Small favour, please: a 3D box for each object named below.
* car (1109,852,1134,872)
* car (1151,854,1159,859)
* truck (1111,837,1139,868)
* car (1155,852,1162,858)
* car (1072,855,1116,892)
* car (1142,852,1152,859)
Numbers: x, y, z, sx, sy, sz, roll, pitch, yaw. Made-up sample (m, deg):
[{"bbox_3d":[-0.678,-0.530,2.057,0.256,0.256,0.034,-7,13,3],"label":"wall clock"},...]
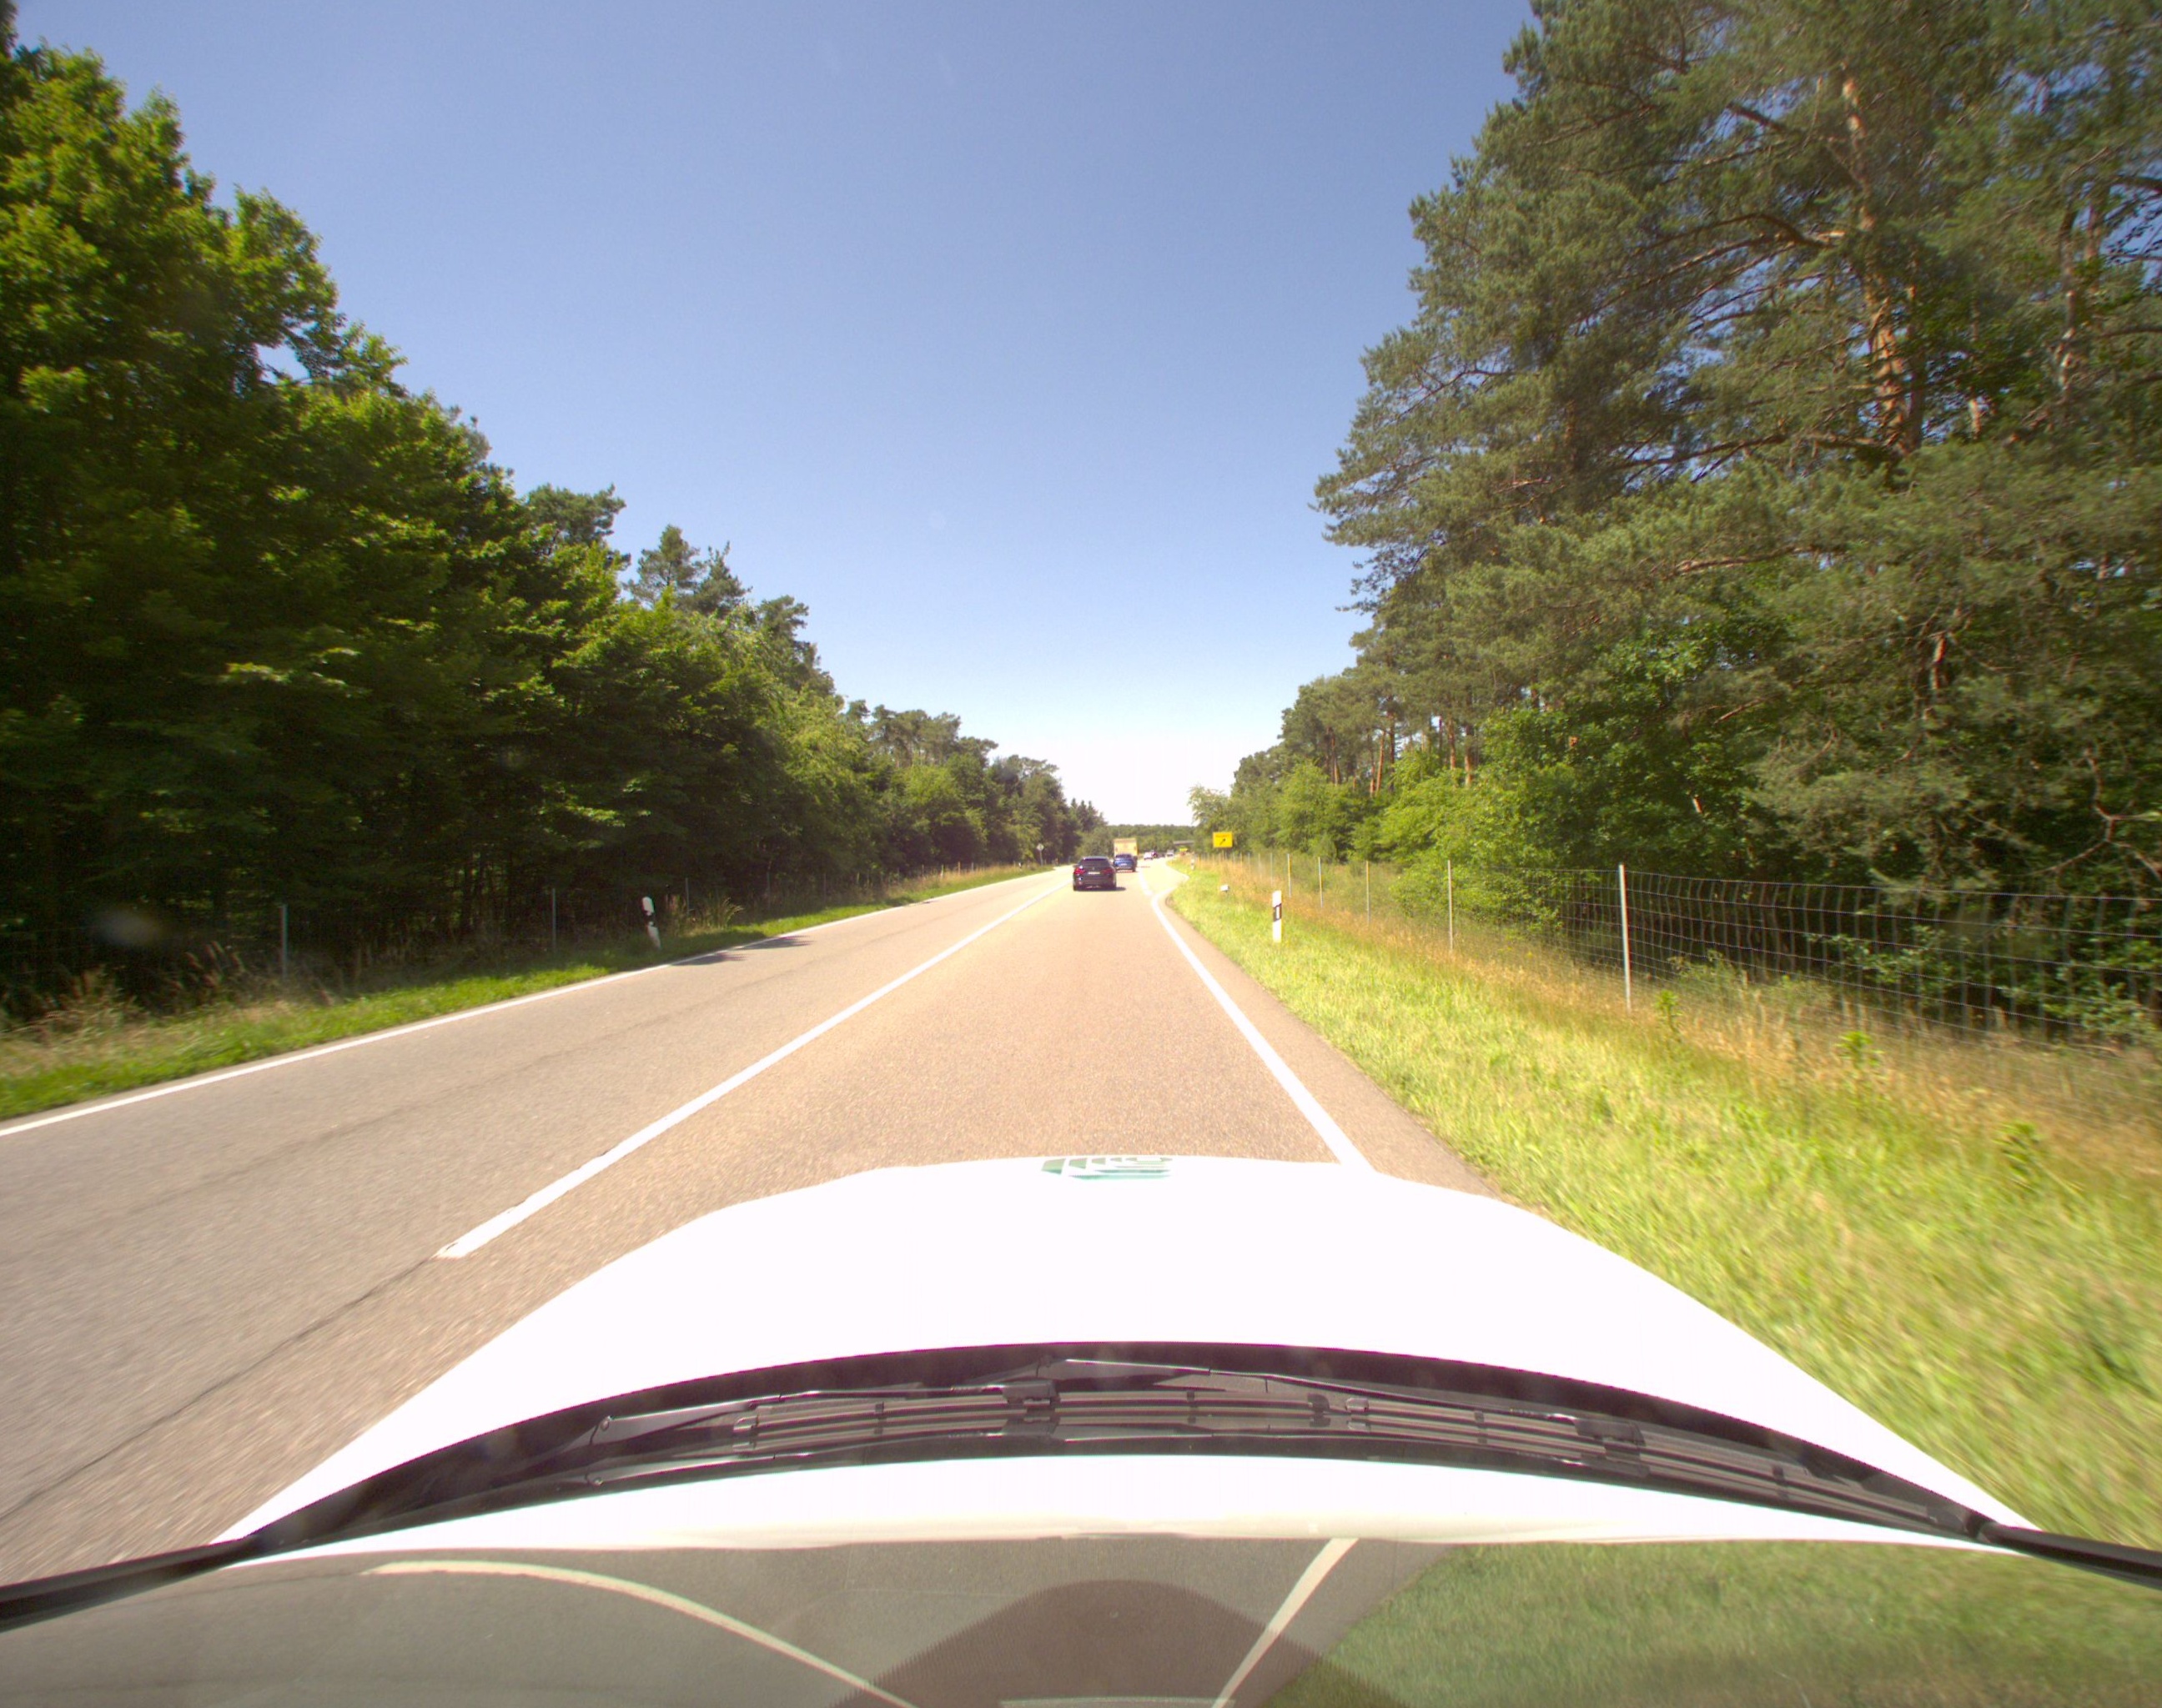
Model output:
[{"bbox_3d":[3.405,0.669,68.815,1.940,1.541,4.001,-3,0,1],"label":"car"},{"bbox_3d":[19.393,0.672,213.751,1.984,1.420,4.005,-1,0,5],"label":"car"},{"bbox_3d":[5.064,-0.196,93.141,2.953,3.387,6.445,-2,0,4],"label":"truck"},{"bbox_3d":[22.628,0.295,237.720,1.983,1.636,4.007,-3,0,6],"label":"car"},{"bbox_3d":[0.522,0.815,36.094,1.815,1.470,3.999,-2,0,-1],"label":"car"},{"bbox_3d":[14.955,0.407,184.575,1.856,1.605,4.001,0,0,1],"label":"car"}]
